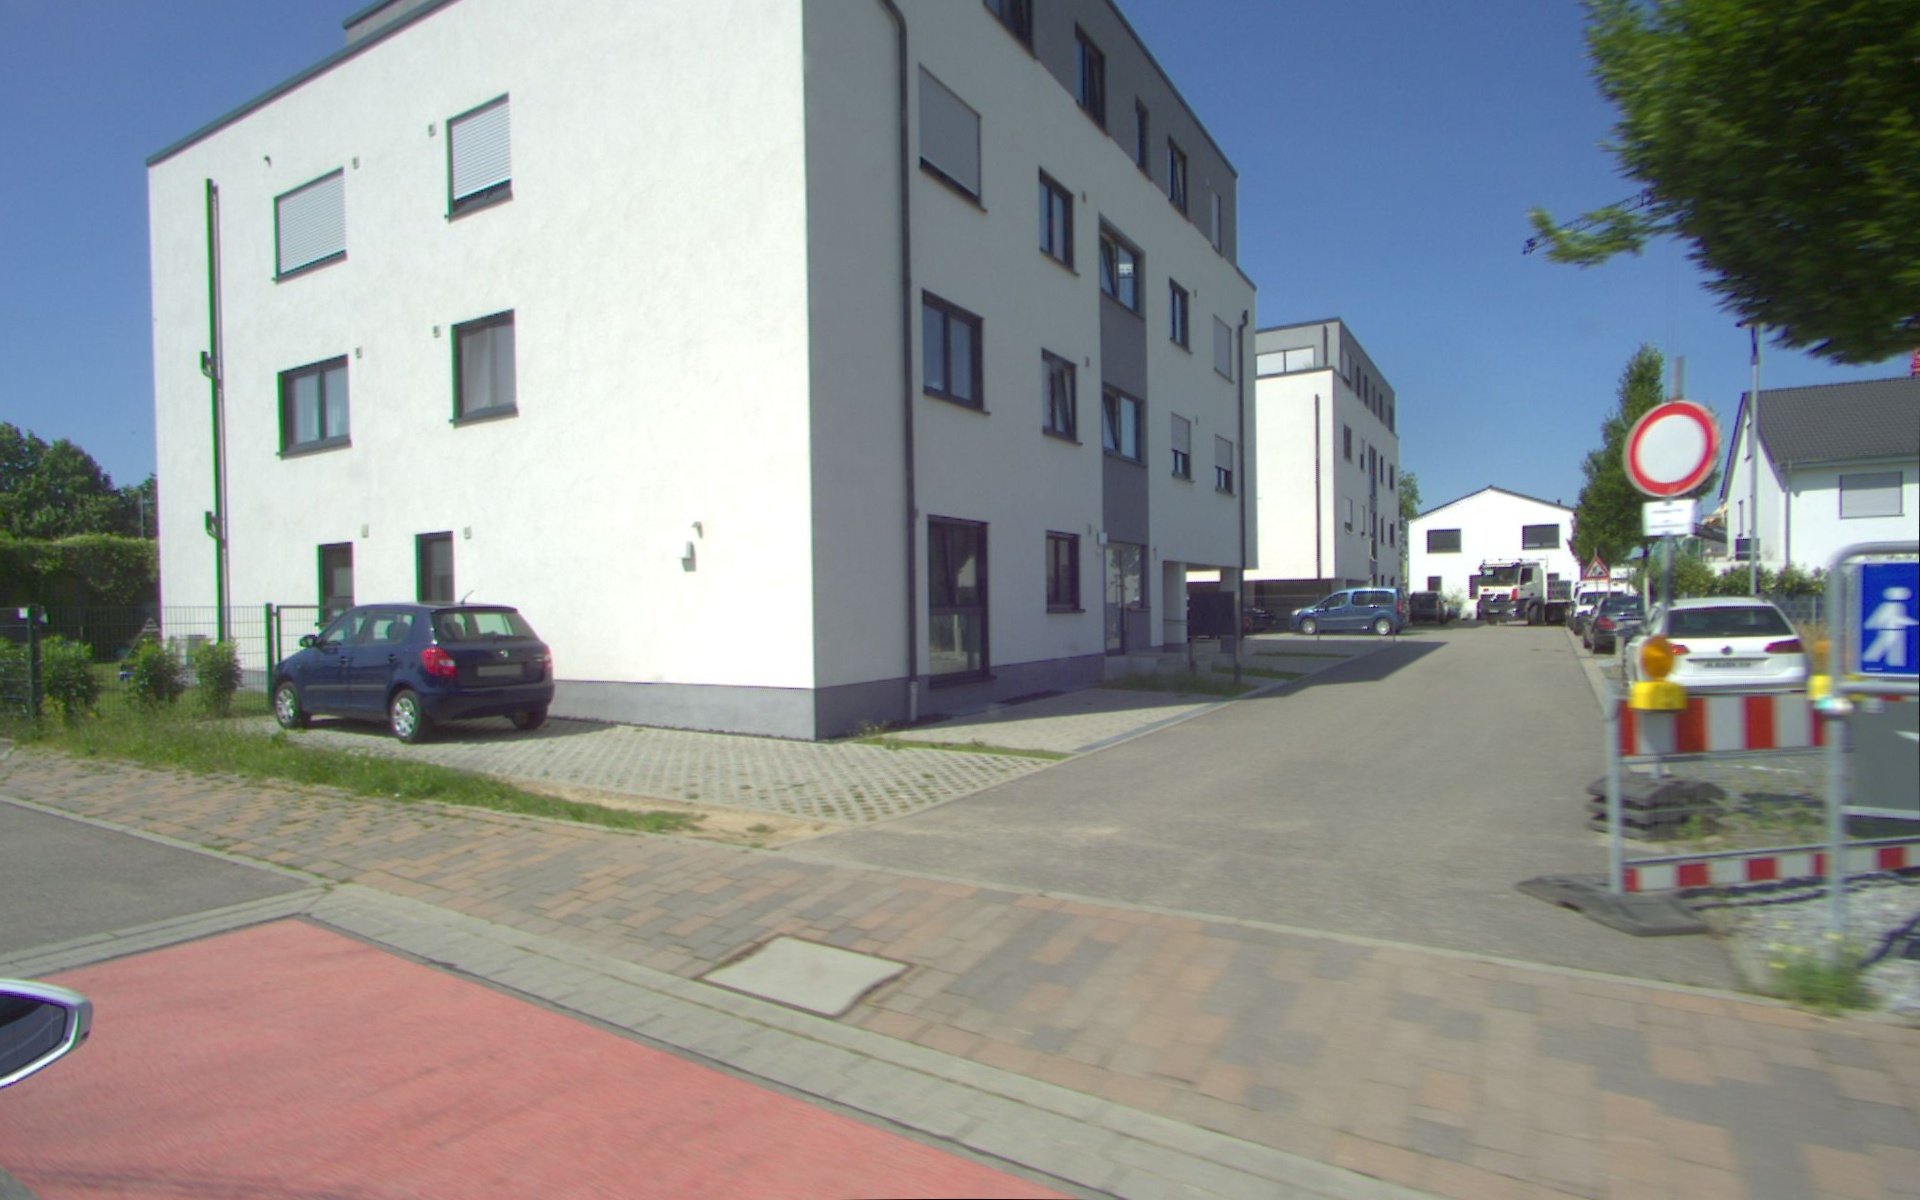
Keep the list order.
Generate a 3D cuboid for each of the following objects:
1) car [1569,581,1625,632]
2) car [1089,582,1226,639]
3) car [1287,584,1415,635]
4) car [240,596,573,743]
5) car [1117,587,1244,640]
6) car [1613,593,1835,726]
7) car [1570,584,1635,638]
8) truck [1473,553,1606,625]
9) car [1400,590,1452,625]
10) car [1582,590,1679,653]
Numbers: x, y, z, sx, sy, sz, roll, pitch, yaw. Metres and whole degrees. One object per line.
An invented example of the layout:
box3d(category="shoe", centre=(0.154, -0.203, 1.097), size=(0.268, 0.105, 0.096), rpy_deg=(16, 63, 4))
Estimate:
box3d(category="car", centre=(27.075, 0.256, 42.668), size=(1.855, 2.006, 4.587), rpy_deg=(-1, 0, 31))
box3d(category="car", centre=(6.626, 0.370, 33.659), size=(4.112, 1.834, 1.872), rpy_deg=(-1, 0, 32))
box3d(category="car", centre=(14.644, 0.372, 37.568), size=(4.117, 1.834, 1.870), rpy_deg=(-1, 0, 36))
box3d(category="car", centre=(-6.681, 0.716, 12.003), size=(4.054, 1.489, 1.675), rpy_deg=(0, 0, 30))
box3d(category="car", centre=(7.964, 0.498, 36.256), size=(4.112, 1.834, 1.872), rpy_deg=(-1, 0, 32))
box3d(category="car", centre=(9.885, 0.664, 13.282), size=(1.855, 1.454, 4.150), rpy_deg=(-1, 0, 31))
box3d(category="car", centre=(23.614, 0.383, 36.933), size=(1.855, 1.861, 4.150), rpy_deg=(-1, 0, 31))
box3d(category="truck", centre=(29.327, -0.550, 50.642), size=(6.861, 3.435, 2.291), rpy_deg=(-1, -1, -26))
box3d(category="car", centre=(23.256, 0.351, 49.911), size=(1.813, 1.687, 3.895), rpy_deg=(-1, 0, 33))
box3d(category="car", centre=(17.331, 0.513, 26.053), size=(1.855, 1.498, 4.150), rpy_deg=(-1, 0, 31))
